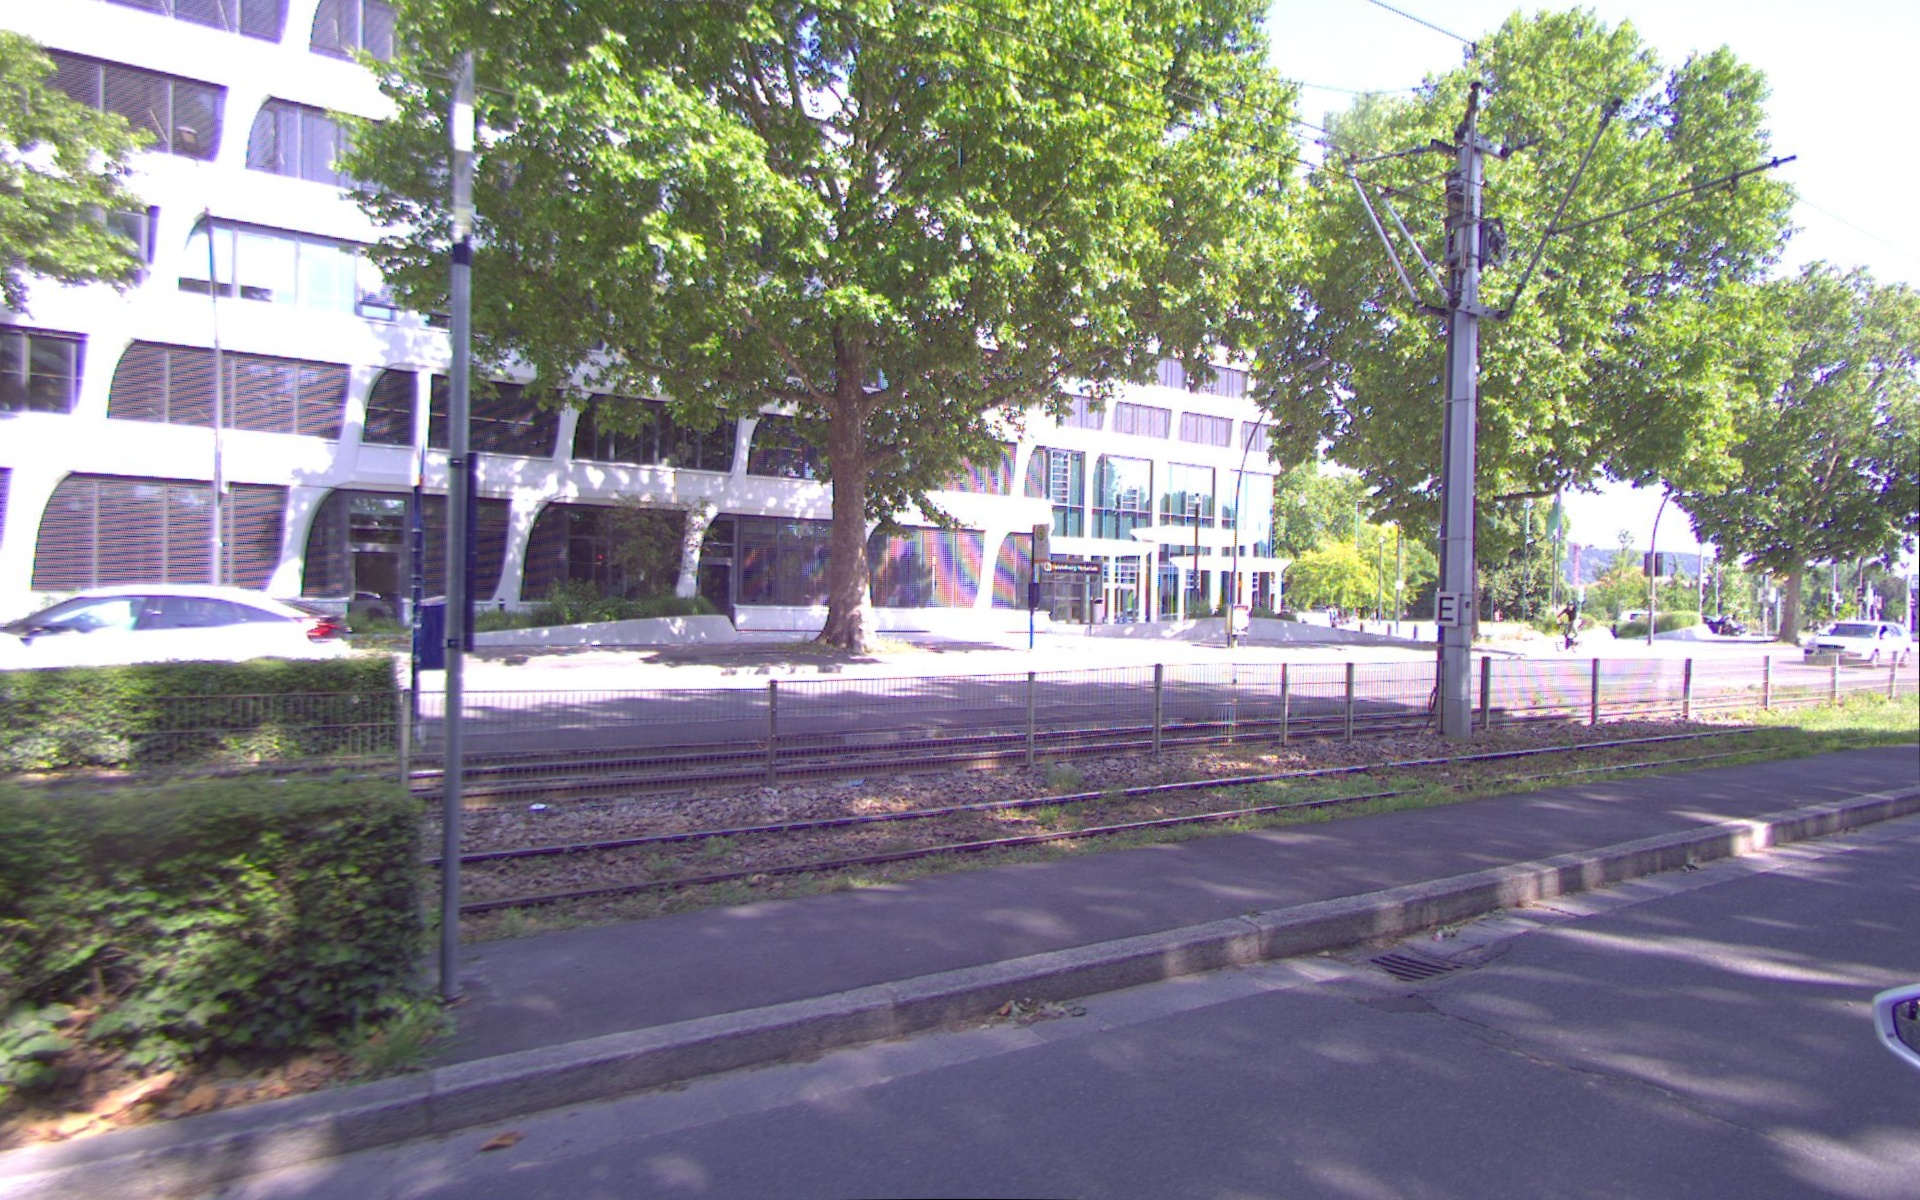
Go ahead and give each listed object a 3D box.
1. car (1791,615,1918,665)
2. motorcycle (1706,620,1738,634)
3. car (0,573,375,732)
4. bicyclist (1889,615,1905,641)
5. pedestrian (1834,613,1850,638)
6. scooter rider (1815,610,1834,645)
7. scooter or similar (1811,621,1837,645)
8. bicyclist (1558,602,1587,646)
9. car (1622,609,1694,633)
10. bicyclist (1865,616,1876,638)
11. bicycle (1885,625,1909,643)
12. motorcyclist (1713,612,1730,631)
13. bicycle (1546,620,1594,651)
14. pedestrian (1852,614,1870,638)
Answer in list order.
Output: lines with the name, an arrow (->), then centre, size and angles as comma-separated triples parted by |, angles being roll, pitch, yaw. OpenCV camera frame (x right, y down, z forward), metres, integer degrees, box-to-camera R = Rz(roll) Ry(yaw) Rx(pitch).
car -> 29.563, 1.305, 33.175 | 4.332, 1.508, 1.789 | 1, 1, -29
motorcycle -> 52.696, 1.863, 69.480 | 0.642, 0.903, 1.637 | 1, 0, -28
car -> -9.095, 0.531, 11.322 | 4.253, 1.584, 1.802 | 1, 0, -30
bicyclist -> 53.163, 1.568, 56.970 | 0.585, 1.435, 0.477 | 1, 1, -30
pedestrian -> 57.927, 1.676, 65.973 | 0.637, 1.562, 0.619 | 1, 1, -30
scooter rider -> 41.547, 1.338, 48.284 | 0.559, 1.653, 0.504 | 1, 1, -29
scooter or similar -> 41.529, 1.587, 48.290 | 1.233, 1.127, 0.545 | 1, 1, -29
bicyclist -> 22.961, 0.885, 37.652 | 0.828, 1.625, 0.572 | 1, 1, -29
car -> 49.733, 1.473, 71.669 | 1.748, 1.569, 3.831 | 1, 1, -28
bicyclist -> 55.620, 1.640, 61.384 | 0.461, 1.329, 0.382 | 1, 1, -35
bicycle -> 53.126, 1.915, 56.942 | 1.634, 0.974, 0.482 | 1, 0, -29
motorcyclist -> 52.682, 1.487, 69.519 | 0.596, 1.332, 0.749 | 1, 1, -29
bicycle -> 22.844, 1.336, 37.607 | 1.861, 1.109, 0.664 | 1, 1, -29
pedestrian -> 58.446, 1.681, 65.141 | 0.773, 1.562, 0.619 | 1, 1, -30
